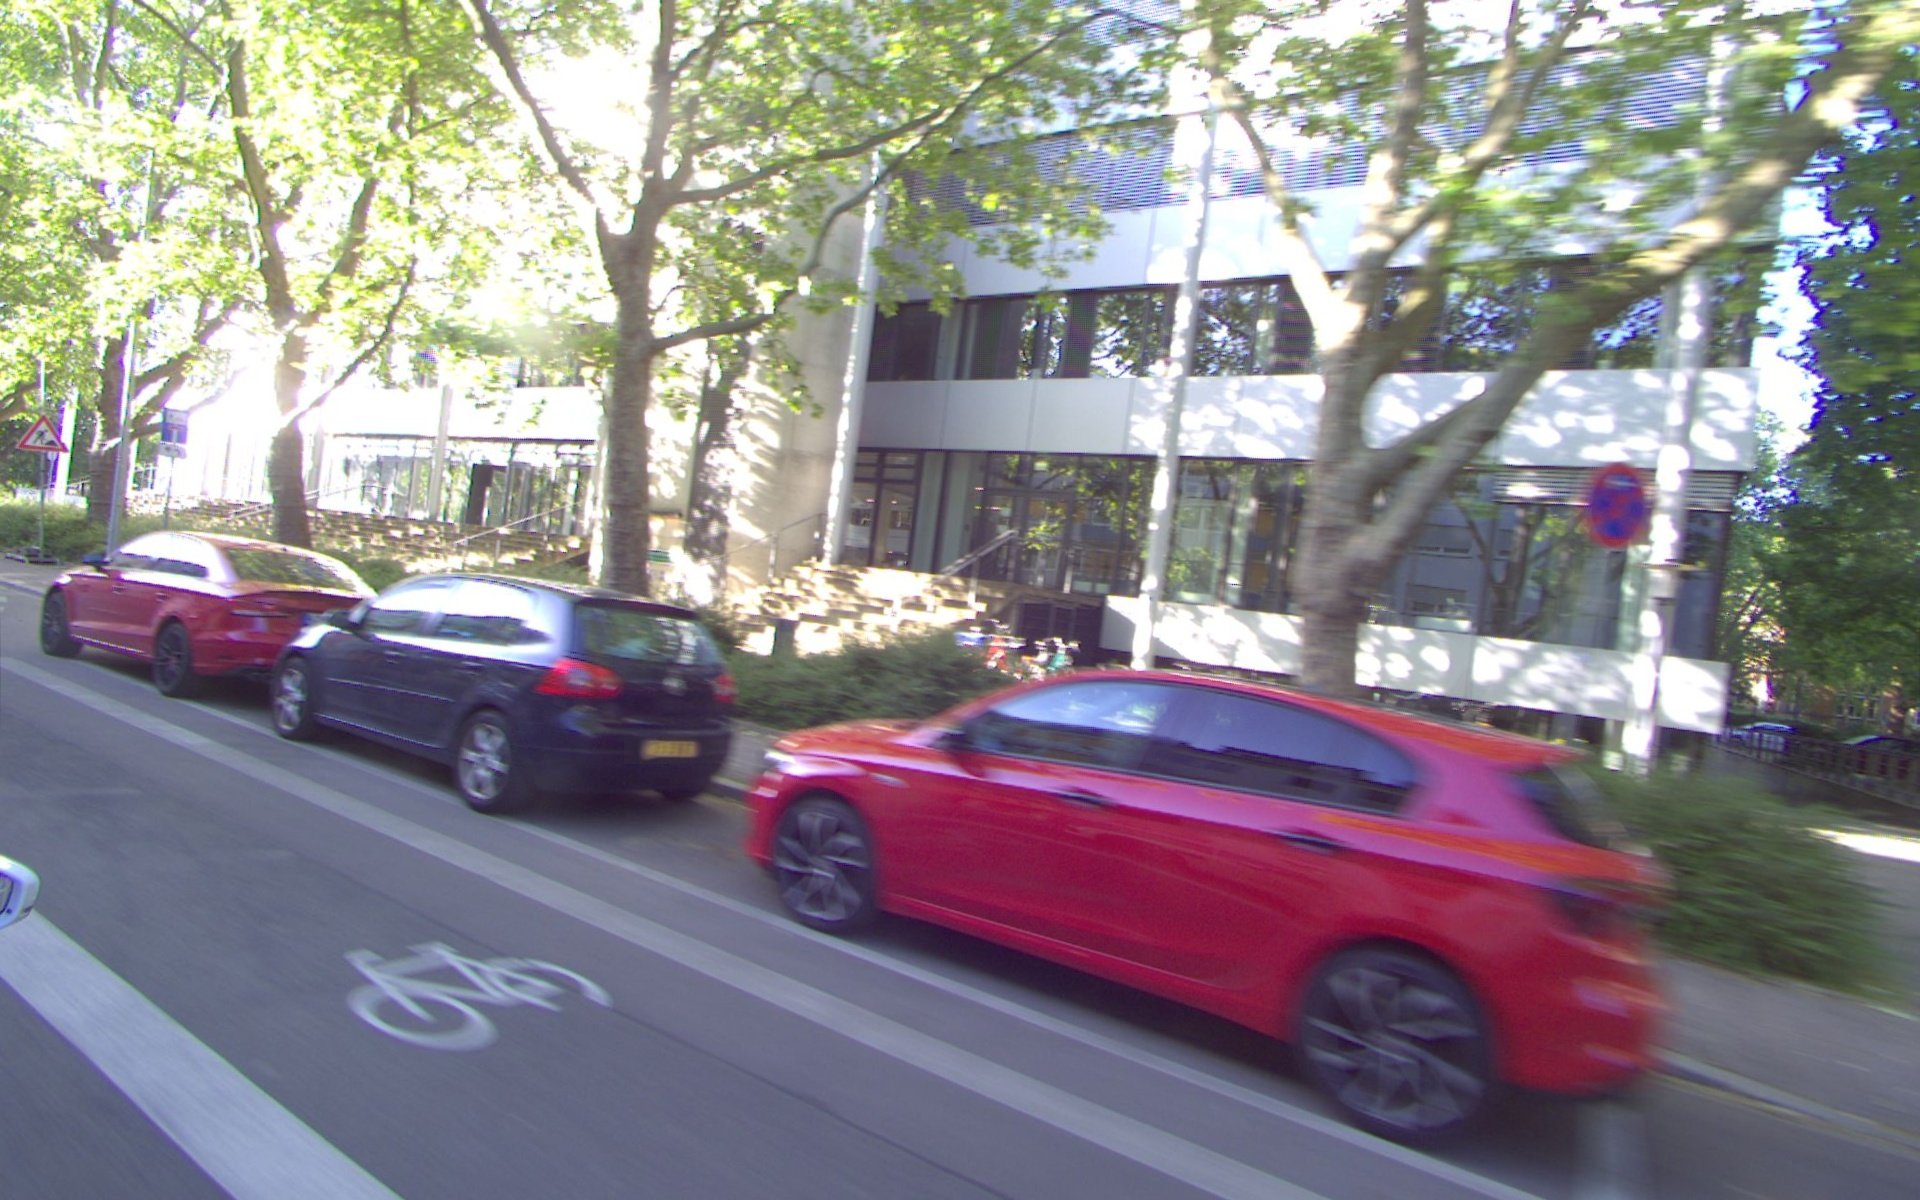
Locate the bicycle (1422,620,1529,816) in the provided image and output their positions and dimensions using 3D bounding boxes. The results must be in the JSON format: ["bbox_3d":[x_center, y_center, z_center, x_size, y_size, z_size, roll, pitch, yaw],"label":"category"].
[{"bbox_3d":[6.227,1.375,12.058,0.730,2.038,2.601,7,0,32],"label":"bicycle"}]

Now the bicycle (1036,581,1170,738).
[{"bbox_3d":[2.147,0.897,14.653,0.730,2.038,2.601,7,0,32],"label":"bicycle"}]

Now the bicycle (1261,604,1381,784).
[{"bbox_3d":[4.733,1.210,13.049,0.730,2.038,2.601,7,0,32],"label":"bicycle"}]

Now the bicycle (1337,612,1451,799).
[{"bbox_3d":[5.474,1.292,12.571,0.730,2.038,2.601,7,0,32],"label":"bicycle"}]

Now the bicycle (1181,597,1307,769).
[{"bbox_3d":[3.887,1.113,13.556,0.730,2.038,2.601,7,0,32],"label":"bicycle"}]

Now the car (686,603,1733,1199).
[{"bbox_3d":[0.883,1.076,4.879,4.247,1.495,1.697,7,-3,32],"label":"car"}]

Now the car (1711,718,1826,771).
[{"bbox_3d":[38.377,6.834,47.864,3.887,1.821,1.824,6,-2,32],"label":"car"}]

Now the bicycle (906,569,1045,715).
[{"bbox_3d":[0.305,0.706,15.700,0.730,2.038,2.601,7,0,32],"label":"bicycle"}]

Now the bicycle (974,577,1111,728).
[{"bbox_3d":[1.308,0.825,15.151,0.730,2.038,2.601,7,0,32],"label":"bicycle"}]

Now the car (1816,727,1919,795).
[{"bbox_3d":[29.531,5.149,31.410,3.887,1.740,1.824,6,-2,32],"label":"car"}]

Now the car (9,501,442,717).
[{"bbox_3d":[-7.323,0.050,9.931,4.360,1.465,1.698,7,-3,30],"label":"car"}]

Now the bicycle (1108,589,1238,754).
[{"bbox_3d":[3.045,1.019,14.087,0.730,2.038,2.601,7,0,32],"label":"bicycle"}]

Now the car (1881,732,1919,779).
[{"bbox_3d":[39.992,6.508,40.473,3.887,1.740,1.824,6,-2,32],"label":"car"}]

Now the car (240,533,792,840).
[{"bbox_3d":[-3.395,0.517,7.471,3.999,1.482,1.697,7,-3,33],"label":"car"}]
